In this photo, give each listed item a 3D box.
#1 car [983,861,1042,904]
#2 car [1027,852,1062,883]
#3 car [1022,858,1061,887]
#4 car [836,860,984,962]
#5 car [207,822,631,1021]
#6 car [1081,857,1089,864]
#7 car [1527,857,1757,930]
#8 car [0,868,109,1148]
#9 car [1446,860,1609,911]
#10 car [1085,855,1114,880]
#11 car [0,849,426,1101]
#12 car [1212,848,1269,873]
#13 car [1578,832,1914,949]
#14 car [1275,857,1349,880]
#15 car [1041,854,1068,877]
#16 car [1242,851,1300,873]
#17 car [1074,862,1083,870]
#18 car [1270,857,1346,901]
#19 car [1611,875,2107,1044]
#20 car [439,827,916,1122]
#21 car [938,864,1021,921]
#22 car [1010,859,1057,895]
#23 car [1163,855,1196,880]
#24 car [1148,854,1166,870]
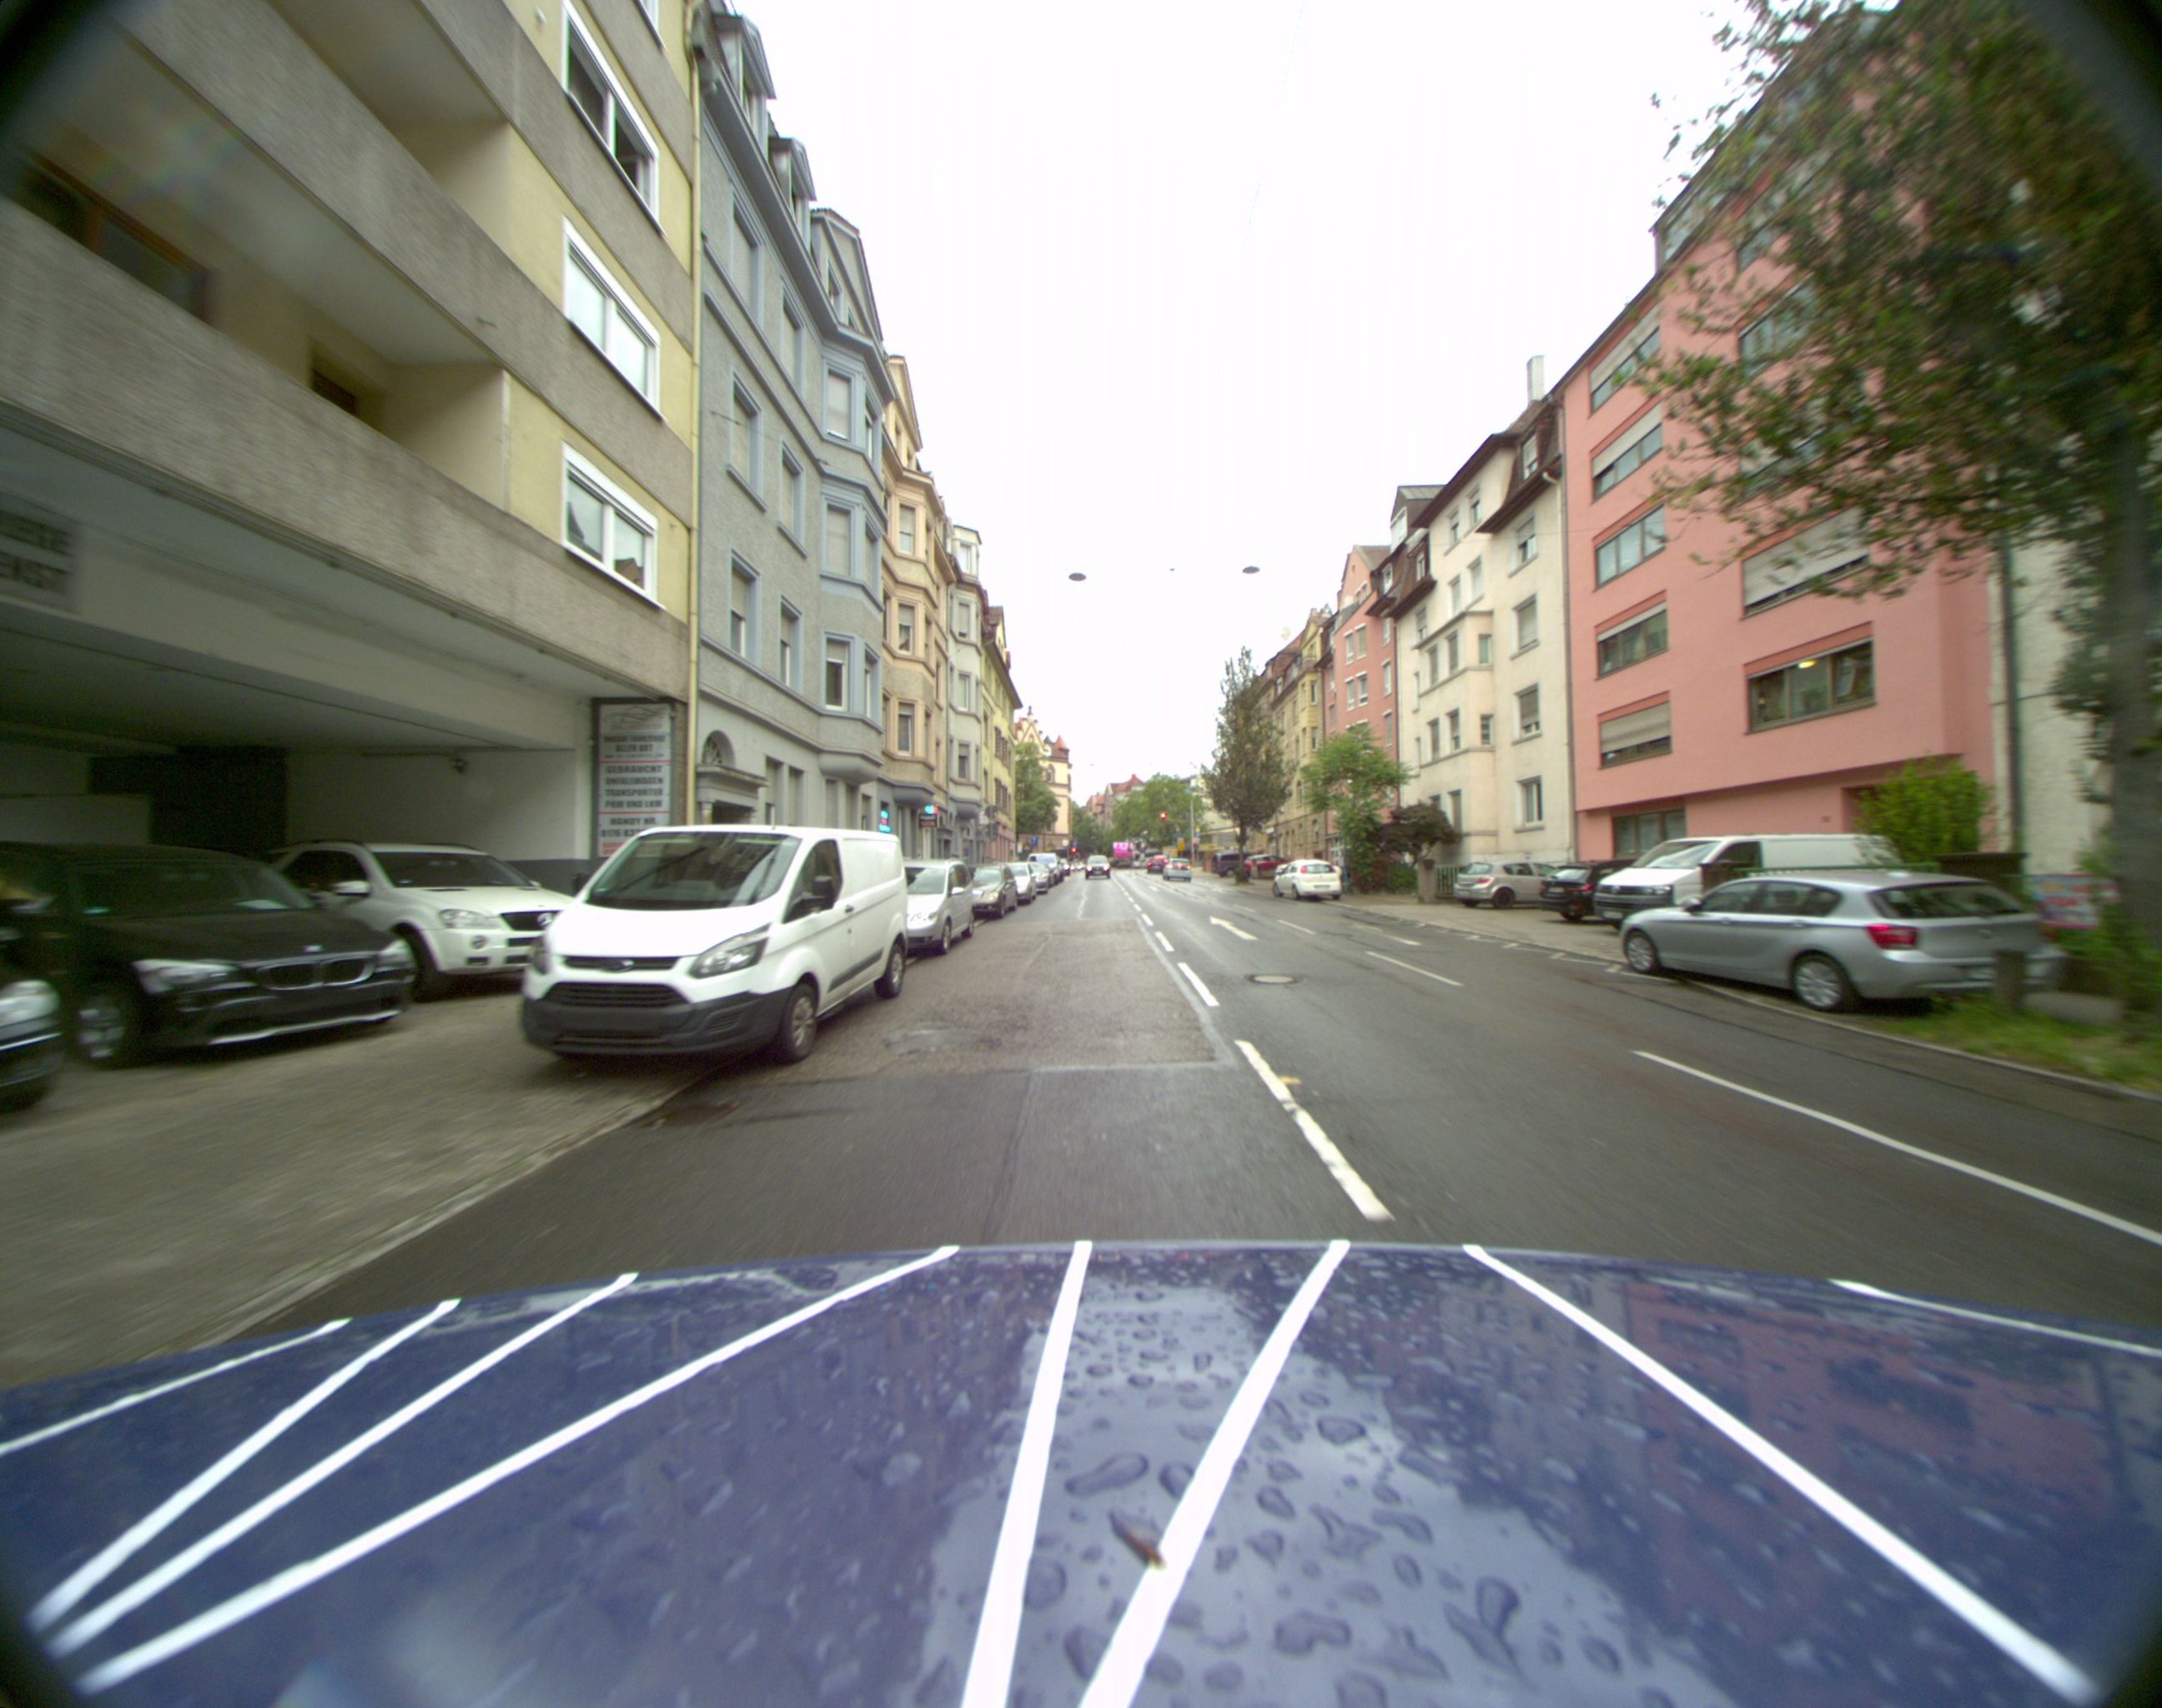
[{"bbox_3d":[-2.428,0.993,27.955,1.709,1.434,3.933,0,0,2],"label":"car"},{"bbox_3d":[-2.156,0.761,46.022,1.826,1.808,4.520,0,0,2],"label":"car"},{"bbox_3d":[-2.043,0.954,40.146,1.709,1.434,3.933,0,0,2],"label":"car"},{"bbox_3d":[-3.029,0.931,14.379,1.731,1.588,4.312,0,0,2],"label":"car"},{"bbox_3d":[-8.077,0.719,9.328,4.454,2.001,2.003,-1,-1,20],"label":"car"},{"bbox_3d":[0.833,1.297,148.955,1.552,1.386,3.745,0,0,2],"label":"car"},{"bbox_3d":[12.635,0.855,17.299,3.929,1.389,1.759,-2,1,-1],"label":"car"},{"bbox_3d":[-8.211,0.870,4.468,3.991,1.574,1.815,1,0,18],"label":"car"},{"bbox_3d":[13.236,0.912,22.645,3.930,1.389,1.724,-1,1,-5],"label":"car"},{"bbox_3d":[1.318,0.950,55.460,1.889,1.543,3.999,-4,1,0],"label":"car"},{"bbox_3d":[-8.024,0.876,6.576,3.992,1.704,1.717,-1,-1,18],"label":"car"},{"bbox_3d":[12.246,0.505,58.528,3.929,1.836,1.867,0,1,-1],"label":"car"},{"bbox_3d":[12.488,0.634,14.496,4.731,1.893,1.918,-2,1,-1],"label":"car"},{"bbox_3d":[13.761,0.838,45.427,3.928,1.289,1.646,0,1,2],"label":"car"},{"bbox_3d":[-1.772,0.773,51.446,1.627,1.498,3.745,0,0,2],"label":"car"},{"bbox_3d":[14.070,0.591,56.293,3.928,1.613,1.592,0,1,2],"label":"car"},{"bbox_3d":[-0.434,2.178,136.430,1.552,1.386,3.745,0,0,2],"label":"car"},{"bbox_3d":[8.671,0.928,29.352,1.670,1.463,3.651,-2,1,-2],"label":"car"},{"bbox_3d":[8.502,1.014,8.970,1.685,1.409,4.138,0,0,2],"label":"car"},{"bbox_3d":[-3.185,0.788,7.425,1.994,1.944,4.822,0,0,1],"label":"car"},{"bbox_3d":[-2.870,1.053,22.288,1.731,1.434,4.358,0,0,2],"label":"car"},{"bbox_3d":[-2.085,1.000,34.544,1.709,1.388,3.933,-4,0,2],"label":"car"},{"bbox_3d":[6.764,0.884,52.496,1.771,1.540,3.652,-2,1,1],"label":"car"},{"bbox_3d":[7.545,0.761,75.313,1.669,1.448,3.653,-2,1,5],"label":"car"}]
